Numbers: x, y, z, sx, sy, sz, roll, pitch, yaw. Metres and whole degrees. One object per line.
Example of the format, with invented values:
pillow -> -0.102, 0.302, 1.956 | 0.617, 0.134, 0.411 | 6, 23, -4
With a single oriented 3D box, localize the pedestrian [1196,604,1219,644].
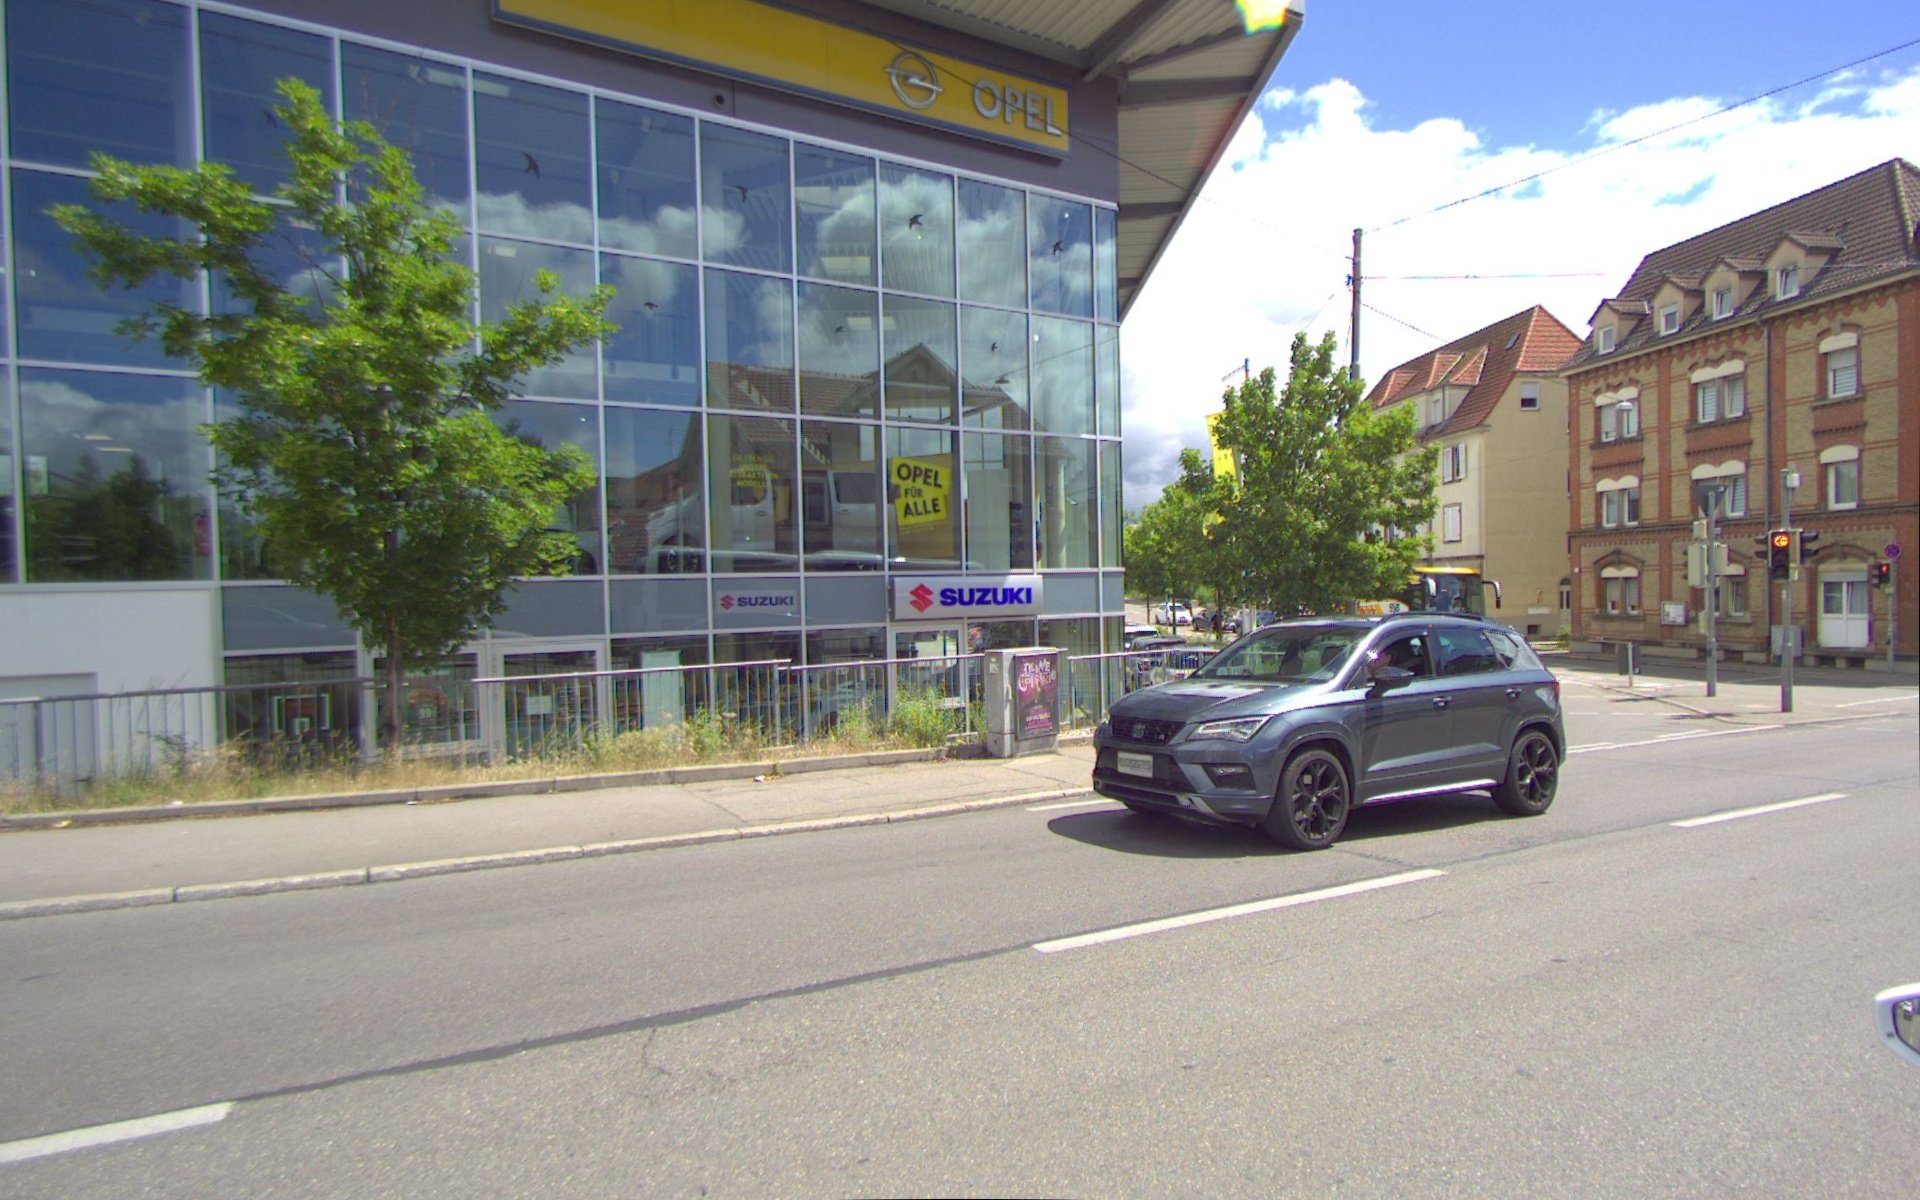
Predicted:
pedestrian -> 10.969, 1.069, 44.563 | 0.744, 1.757, 1.145 | 1, -1, 2

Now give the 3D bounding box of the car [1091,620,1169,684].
car -> 5.029, 1.505, 30.103 | 1.620, 1.703, 3.499 | -1, 0, -2

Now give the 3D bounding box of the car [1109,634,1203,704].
car -> 4.925, 1.700, 25.654 | 1.584, 1.547, 3.499 | -1, 0, -2

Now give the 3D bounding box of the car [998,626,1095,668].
car -> 3.248, 1.767, 38.238 | 3.432, 1.467, 1.799 | -1, 0, -3

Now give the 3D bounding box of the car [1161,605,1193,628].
car -> 17.171, 1.350, 79.613 | 1.789, 1.773, 4.001 | 0, -1, 1

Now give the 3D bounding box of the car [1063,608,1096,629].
car -> 9.555, 1.464, 80.621 | 1.823, 1.617, 3.996 | 1, -1, -6

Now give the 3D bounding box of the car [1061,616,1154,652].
car -> 6.759, 1.558, 46.202 | 3.925, 1.574, 1.805 | 1, -1, -7

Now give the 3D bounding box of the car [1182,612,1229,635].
car -> 15.640, 1.495, 64.250 | 1.874, 1.428, 3.999 | 1, -1, -2

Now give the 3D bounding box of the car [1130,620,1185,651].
car -> 9.770, 1.749, 49.920 | 1.766, 1.467, 3.498 | 1, -1, -5

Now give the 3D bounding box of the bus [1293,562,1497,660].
bus -> 18.549, 0.333, 44.232 | 2.719, 3.670, 12.253 | 1, 1, -5

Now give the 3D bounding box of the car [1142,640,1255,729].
car -> 4.989, 1.724, 21.379 | 1.648, 1.582, 3.365 | -1, 0, 1

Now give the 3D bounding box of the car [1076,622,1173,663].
car -> 6.266, 1.600, 38.455 | 3.431, 1.497, 1.800 | 1, -1, 1

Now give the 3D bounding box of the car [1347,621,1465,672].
car -> 14.687, 1.485, 33.358 | 1.798, 1.572, 4.304 | 0, -1, -4

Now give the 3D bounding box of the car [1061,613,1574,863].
car -> 2.896, 0.899, 7.964 | 3.911, 1.542, 1.750 | 1, -1, -30

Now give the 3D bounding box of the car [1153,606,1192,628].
car -> 15.282, 1.228, 72.502 | 1.874, 1.574, 3.999 | 1, -1, -2
